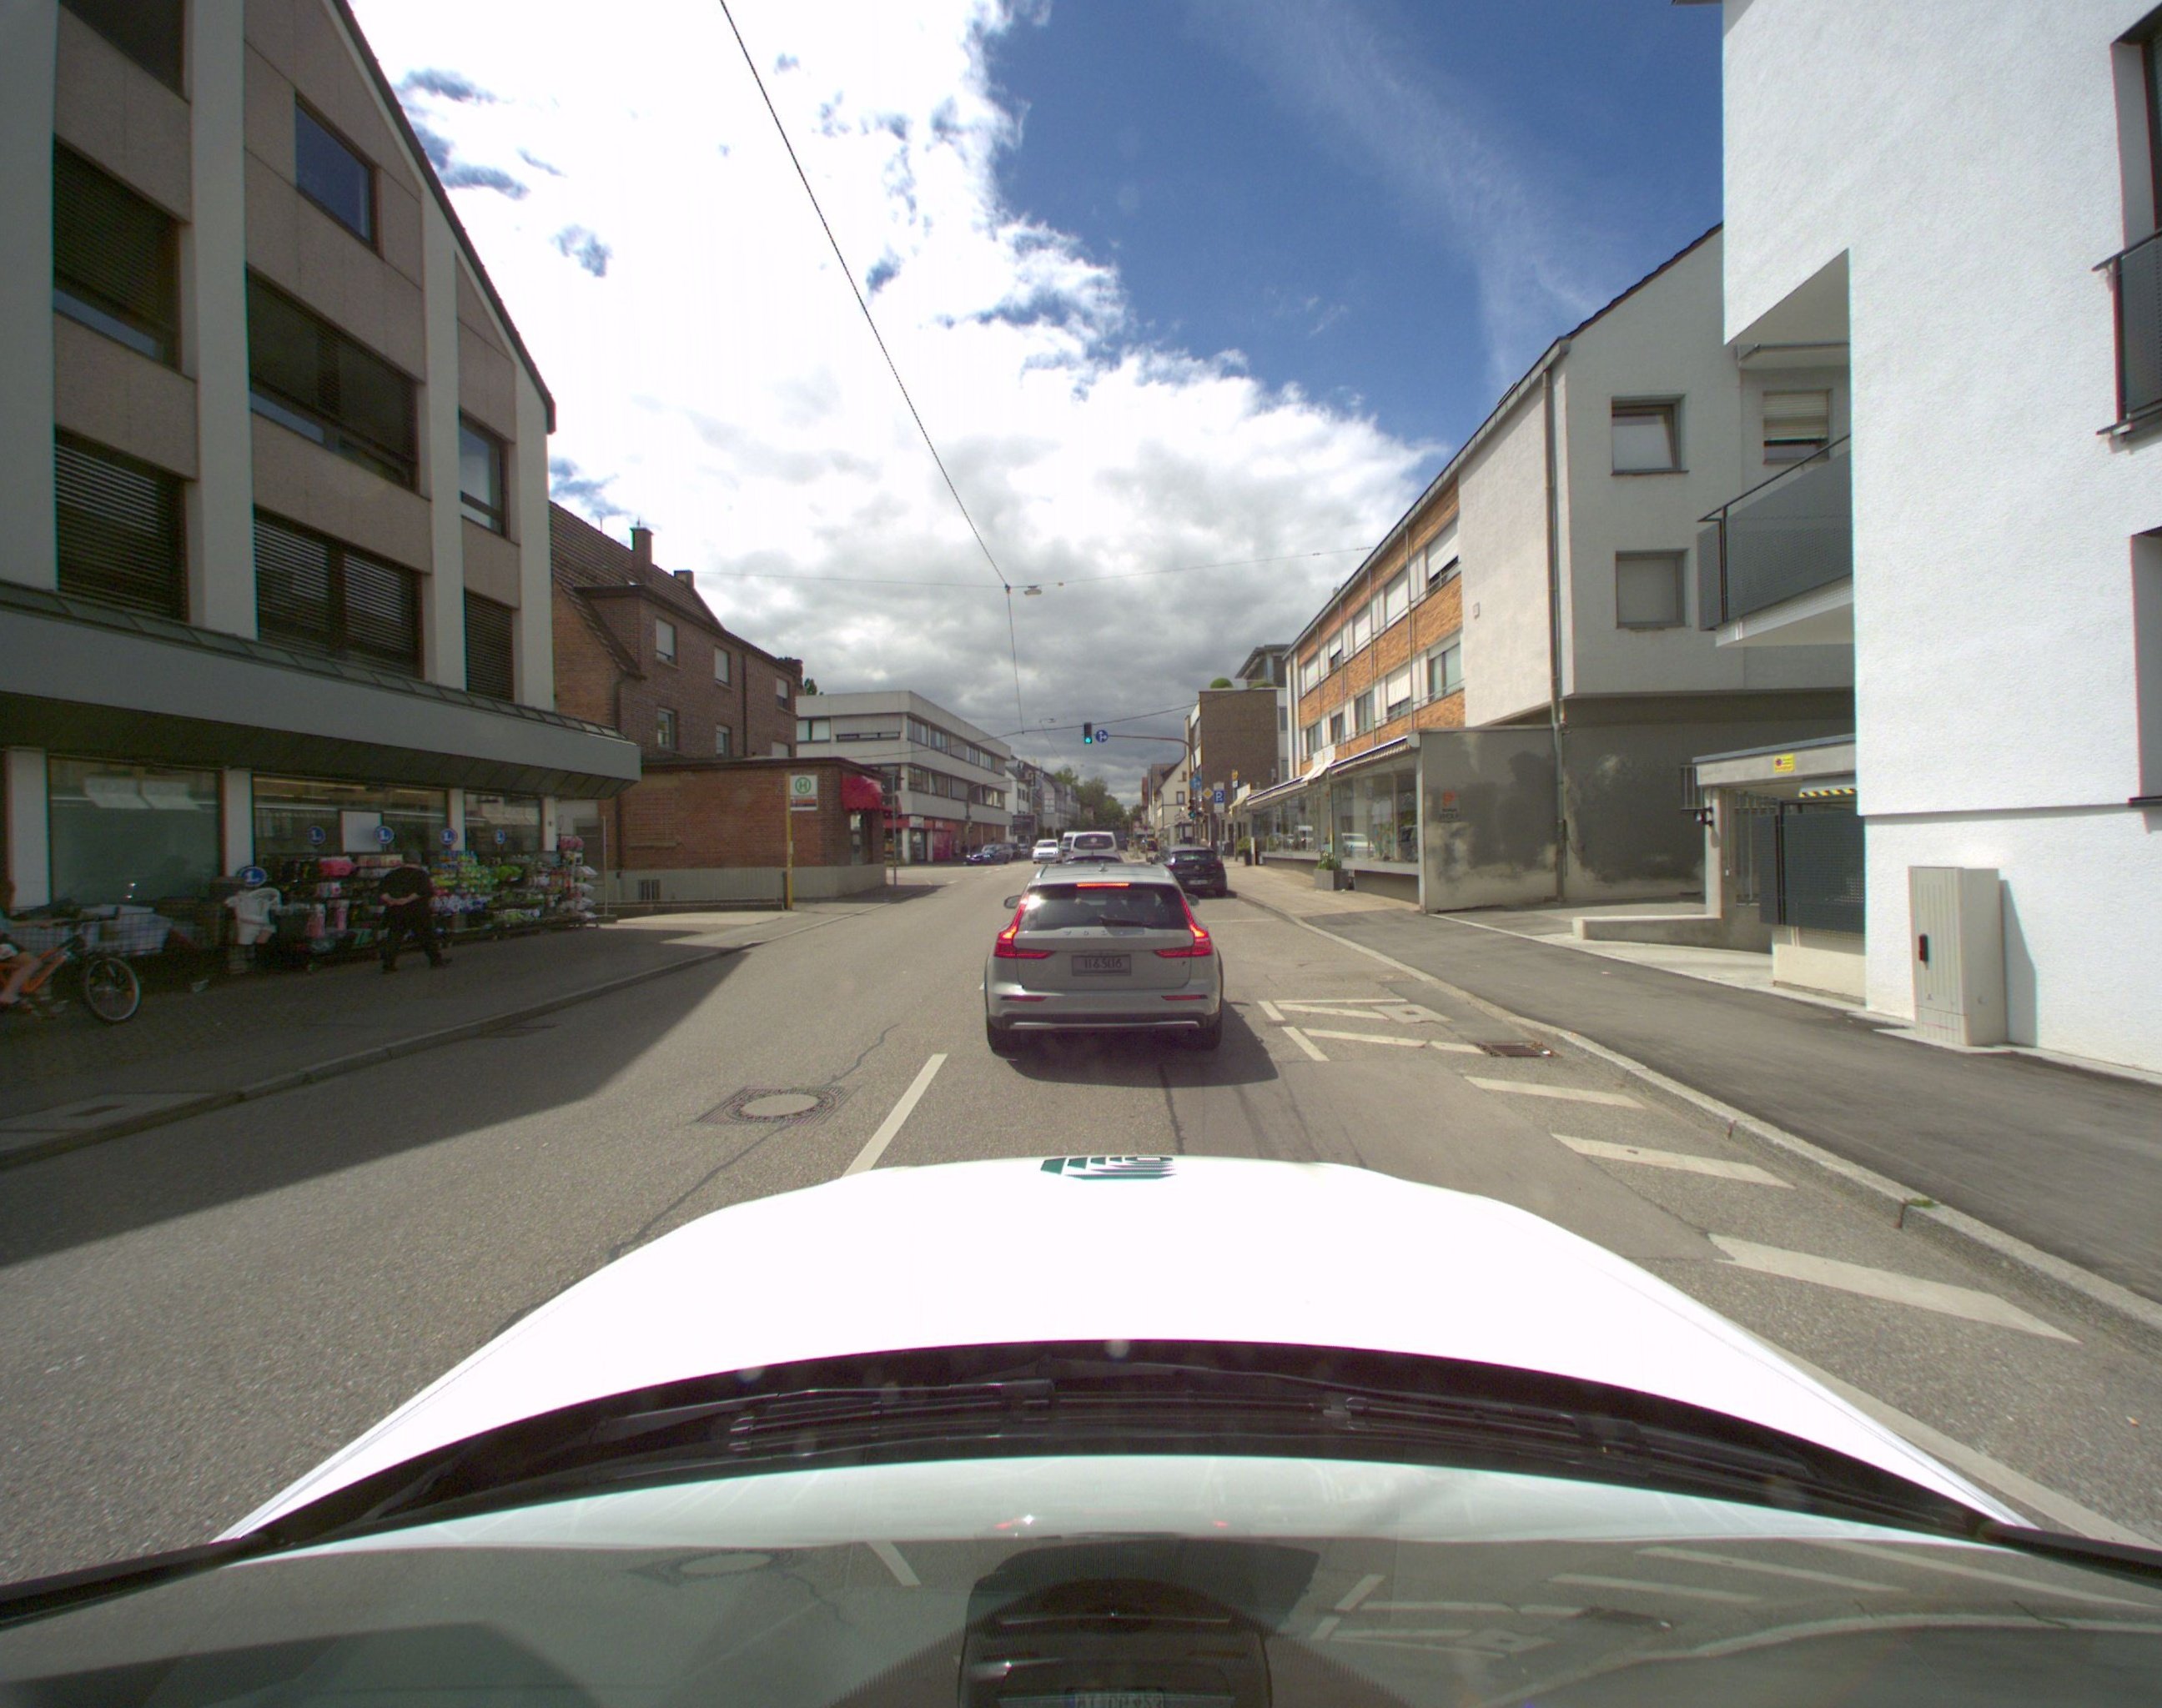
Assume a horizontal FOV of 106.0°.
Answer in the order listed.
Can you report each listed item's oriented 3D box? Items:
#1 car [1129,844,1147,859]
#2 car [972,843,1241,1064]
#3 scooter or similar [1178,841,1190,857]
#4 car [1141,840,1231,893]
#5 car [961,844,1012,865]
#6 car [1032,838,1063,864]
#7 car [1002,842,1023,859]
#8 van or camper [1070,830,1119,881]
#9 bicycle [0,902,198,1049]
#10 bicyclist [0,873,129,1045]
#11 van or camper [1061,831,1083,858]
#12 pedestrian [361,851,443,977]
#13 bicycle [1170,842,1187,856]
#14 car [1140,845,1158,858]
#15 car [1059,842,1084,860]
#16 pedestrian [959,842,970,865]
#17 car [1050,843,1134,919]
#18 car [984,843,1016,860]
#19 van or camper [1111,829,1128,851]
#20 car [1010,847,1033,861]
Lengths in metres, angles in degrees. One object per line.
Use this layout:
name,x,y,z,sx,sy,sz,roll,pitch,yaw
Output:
car,5.209,-0.246,74.899,1.433,1.287,3.249,-2,0,2
car,0.237,0.692,7.627,1.829,1.486,4.001,-1,0,2
scooter or similar,8.452,-0.405,66.853,0.342,1.253,1.236,-4,0,-24
car,2.943,0.329,23.579,1.805,1.346,3.711,-2,0,-5
car,-6.527,0.009,56.638,1.978,1.337,4.375,-2,1,16
car,-2.279,-0.263,55.845,1.768,1.612,4.122,-3,1,2
car,-6.545,-0.376,78.043,1.601,1.543,2.947,0,1,3
van or camper,0.571,-0.003,32.641,1.812,1.834,4.003,-1,2,2
bicycle,-8.779,1.009,6.962,0.442,1.050,1.735,5,0,2
bicyclist,-8.938,0.856,6.950,0.664,1.337,0.762,3,0,1
van or camper,-0.929,-1.034,85.120,2.141,2.556,5.438,-2,2,0
pedestrian,-8.769,0.754,10.541,0.776,1.558,0.567,1,-2,-39
bicycle,8.380,-0.415,70.219,0.555,1.144,2.288,-2,1,-15
car,7.953,-0.230,95.262,1.705,1.464,3.999,-1,-1,0
car,-0.832,-0.236,72.330,1.782,1.511,3.850,-2,0,5
pedestrian,-8.489,-0.060,59.444,0.616,1.641,0.661,-2,1,3
car,0.273,0.527,17.859,1.644,1.482,3.609,-1,0,2
car,-7.113,-0.239,72.156,1.894,1.443,4.451,0,1,6
van or camper,5.104,-1.825,107.133,2.114,2.686,4.785,-2,1,3
car,-6.114,0.002,84.170,1.747,1.426,3.867,-2,0,5
